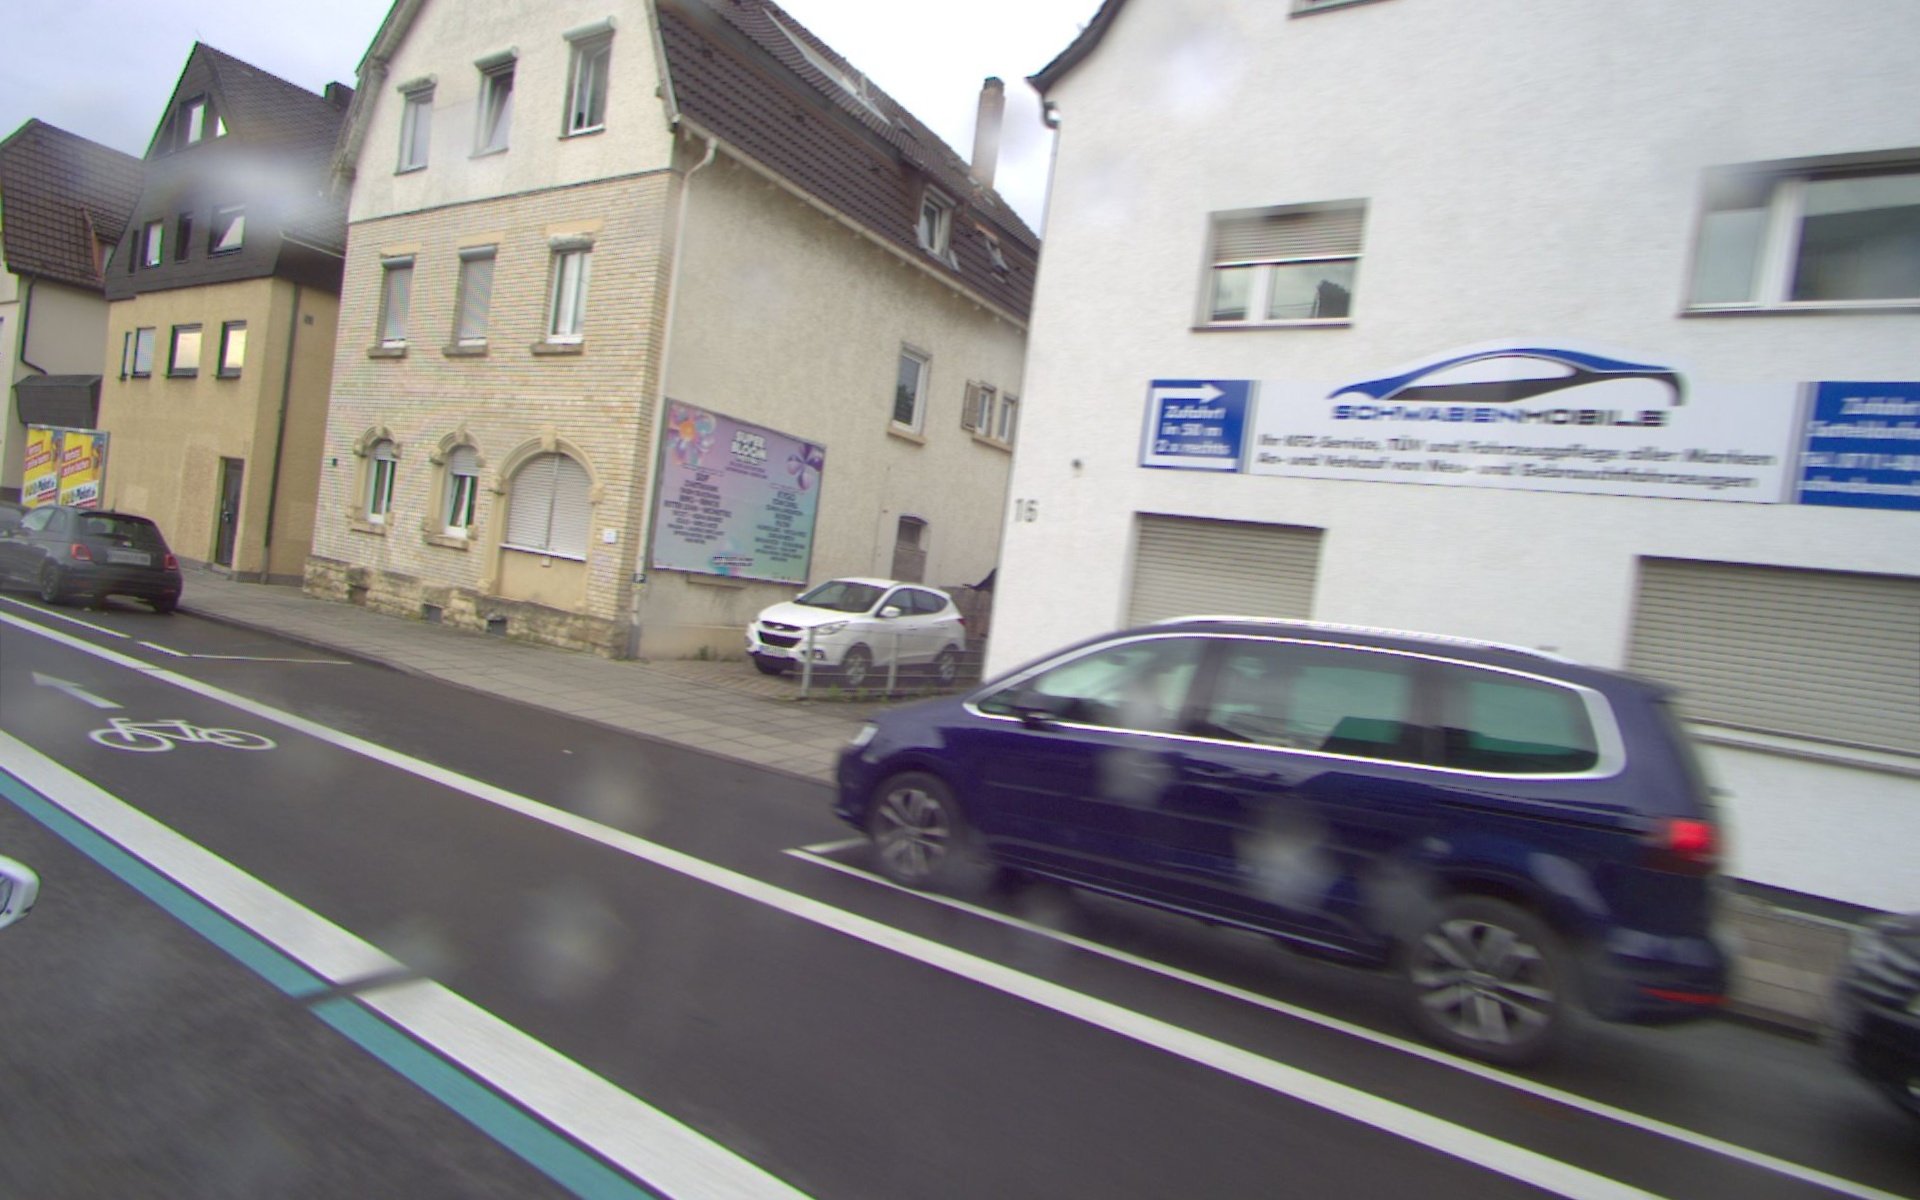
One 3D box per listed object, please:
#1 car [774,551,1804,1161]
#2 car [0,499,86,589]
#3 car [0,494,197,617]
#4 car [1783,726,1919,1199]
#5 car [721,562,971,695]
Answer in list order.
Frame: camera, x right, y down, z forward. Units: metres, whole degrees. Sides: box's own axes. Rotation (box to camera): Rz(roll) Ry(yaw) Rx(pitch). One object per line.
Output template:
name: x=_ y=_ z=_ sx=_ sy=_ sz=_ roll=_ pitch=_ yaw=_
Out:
car: x=1.416 y=0.941 z=5.579 sx=4.609 sy=1.821 sz=1.843 roll=7 pitch=-2 yaw=32
car: x=-18.798 y=-1.251 z=19.098 sx=4.474 sy=1.422 sz=1.793 roll=8 pitch=-1 yaw=29
car: x=-14.085 y=-0.744 z=16.103 sx=3.452 sy=1.515 sz=1.569 roll=7 pitch=-2 yaw=29
car: x=5.225 y=1.482 z=2.909 sx=4.067 sy=1.556 sz=1.637 roll=7 pitch=-2 yaw=32
car: x=-1.675 y=0.483 z=16.164 sx=1.839 sy=1.675 sz=3.991 roll=8 pitch=1 yaw=30
